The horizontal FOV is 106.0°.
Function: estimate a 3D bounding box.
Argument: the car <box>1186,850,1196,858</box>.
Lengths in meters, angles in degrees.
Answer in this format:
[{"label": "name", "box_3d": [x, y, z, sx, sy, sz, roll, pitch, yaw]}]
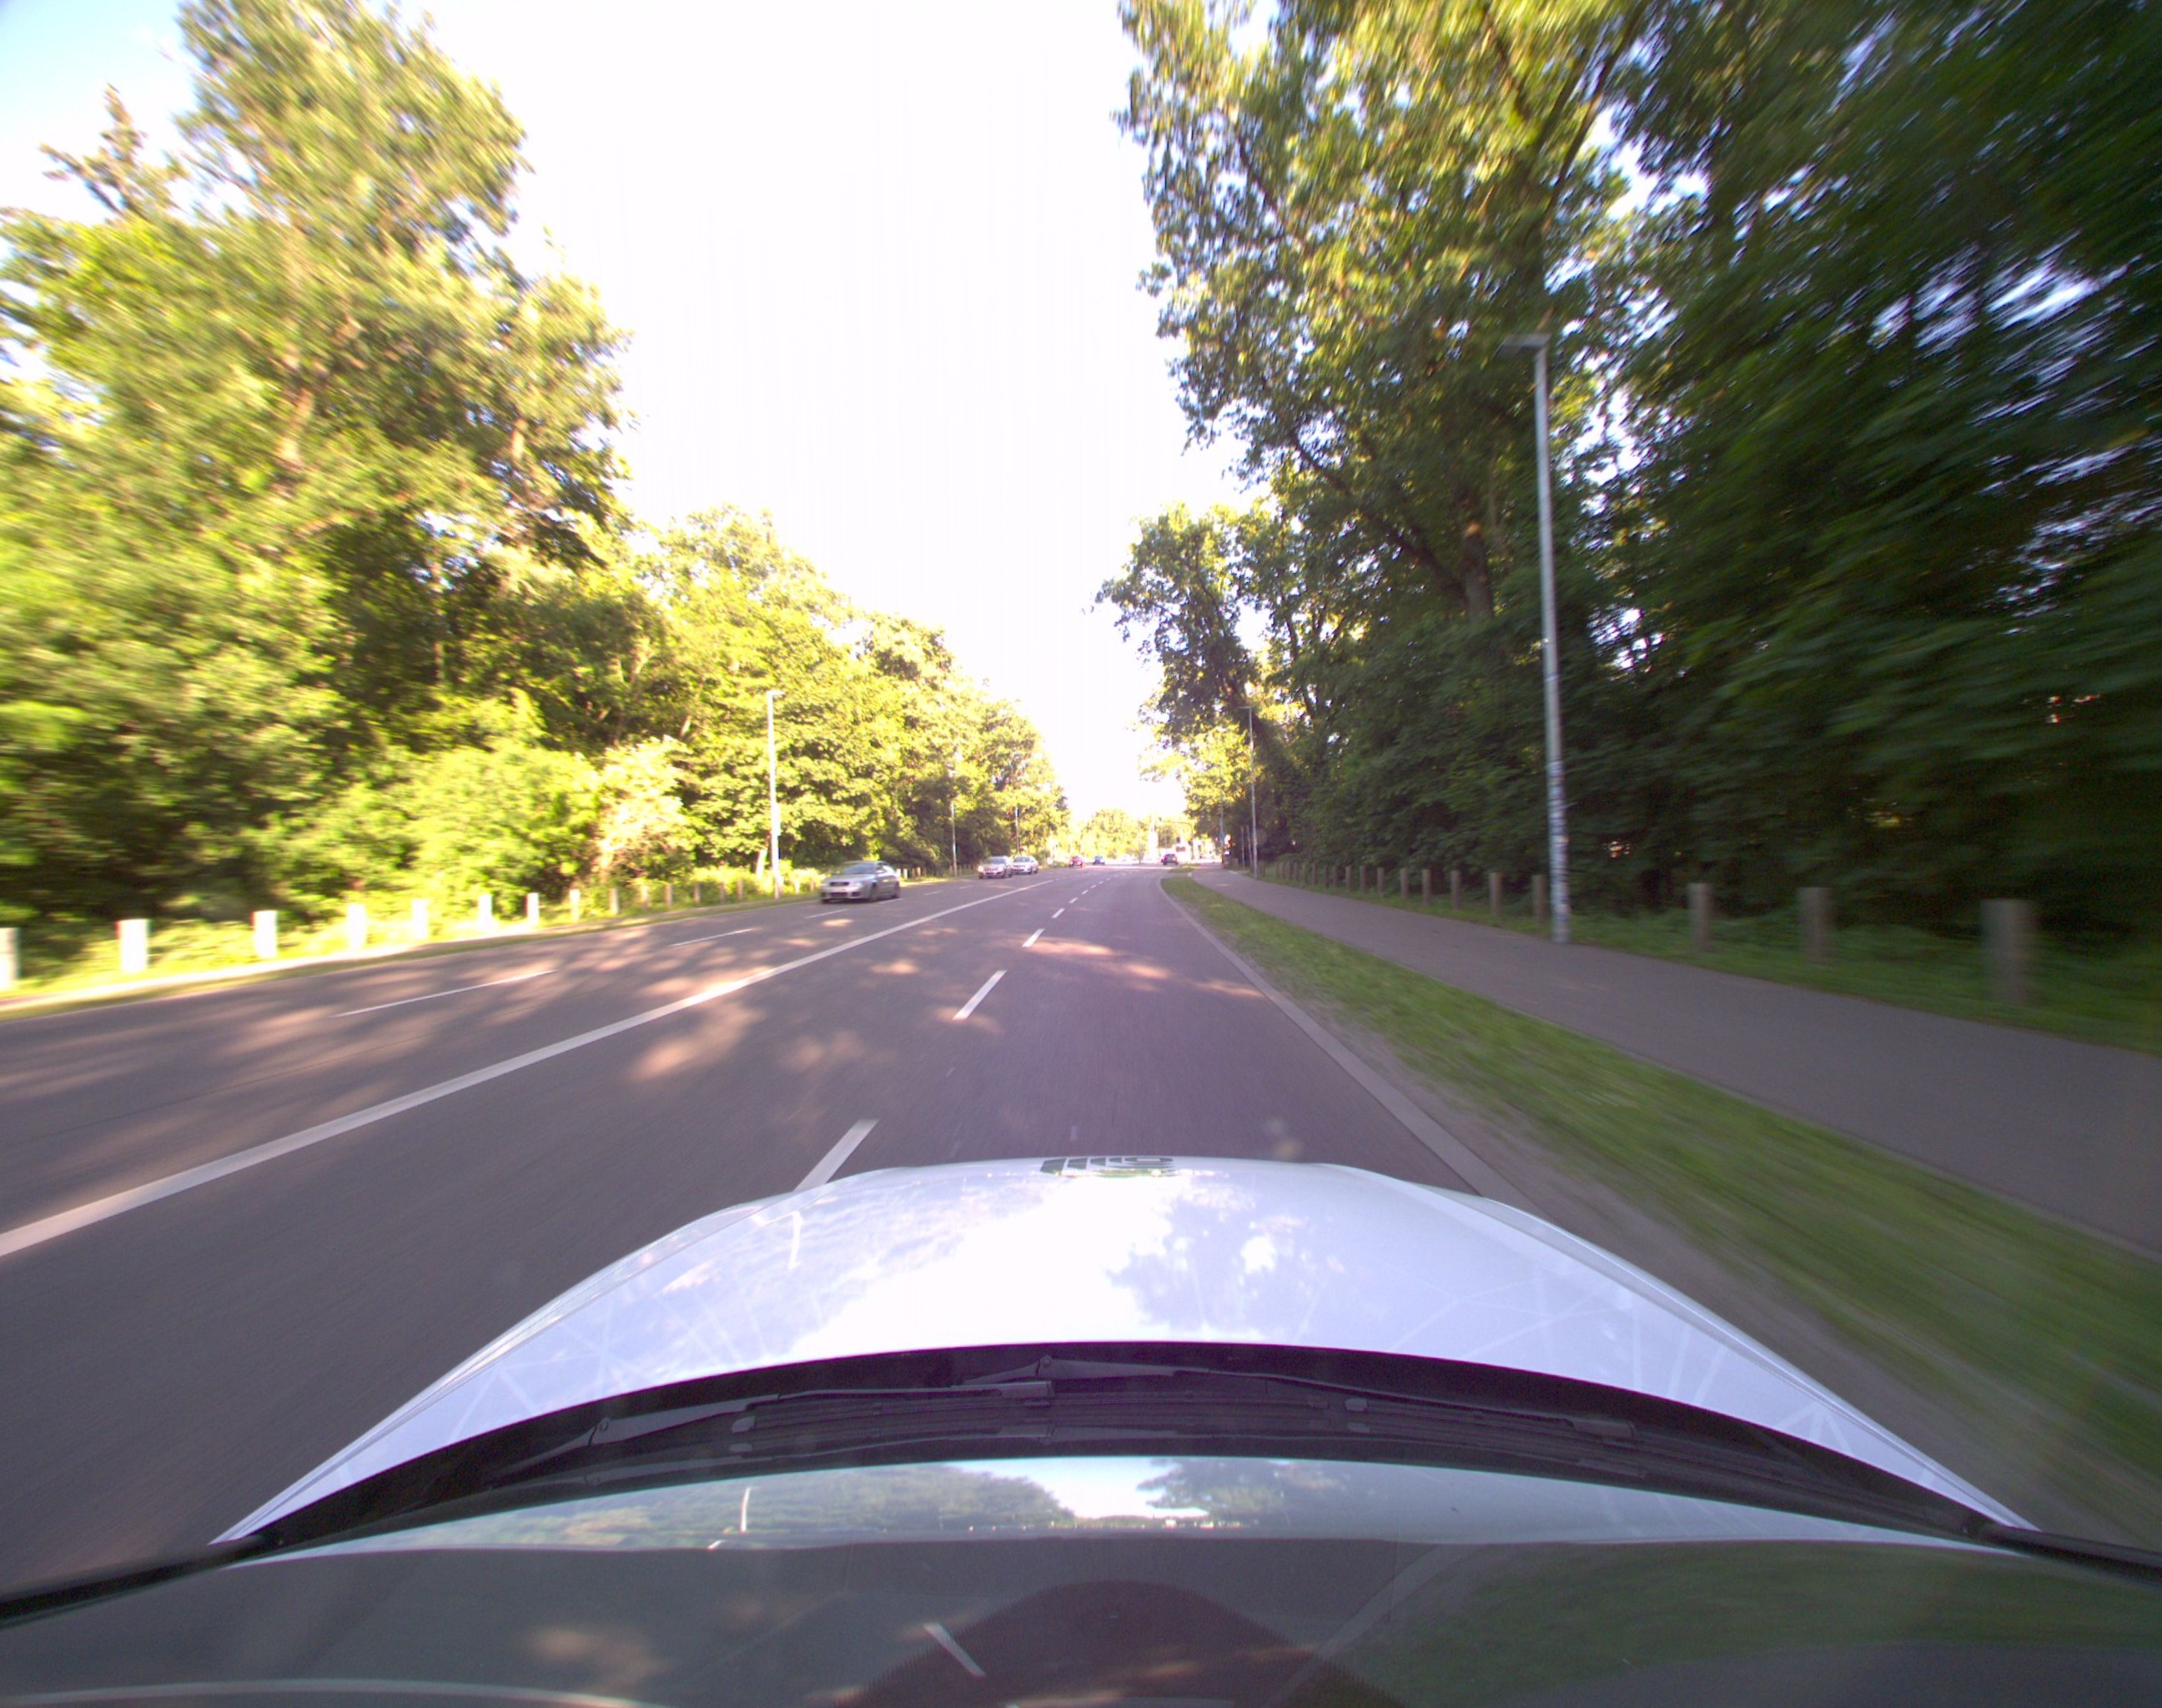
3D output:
[{"label": "car", "box_3d": [24.571, -0.077, 181.642, 1.850, 1.684, 3.786, -3, 0, 13]}]

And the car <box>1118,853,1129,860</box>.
[{"label": "car", "box_3d": [8.513, 0.477, 162.903, 1.701, 1.464, 4.110, 0, 0, 8]}]

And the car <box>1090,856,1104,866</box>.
[{"label": "car", "box_3d": [2.500, 1.034, 124.631, 1.646, 1.508, 4.008, -2, 0, 7]}]

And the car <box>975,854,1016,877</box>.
[{"label": "car", "box_3d": [-5.681, 0.724, 54.516, 1.770, 1.464, 4.282, 0, 0, 7]}]

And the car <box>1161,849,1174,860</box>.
[{"label": "car", "box_3d": [15.375, 0.069, 144.768, 1.869, 1.765, 4.010, -2, 0, 9]}]

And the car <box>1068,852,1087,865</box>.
[{"label": "car", "box_3d": [-0.421, 0.569, 98.724, 1.653, 1.518, 3.817, -2, 0, 9]}]

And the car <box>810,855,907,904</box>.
[{"label": "car", "box_3d": [-7.452, 0.799, 27.687, 1.771, 1.408, 4.172, -1, 1, 5]}]

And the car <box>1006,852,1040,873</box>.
[{"label": "car", "box_3d": [-4.542, 0.630, 64.688, 1.773, 1.522, 4.407, -2, 0, 8]}]

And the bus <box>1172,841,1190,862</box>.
[{"label": "bus", "box_3d": [16.585, -0.469, 134.387, 2.590, 3.368, 7.996, -1, 0, 9]}]

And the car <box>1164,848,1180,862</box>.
[{"label": "car", "box_3d": [12.271, 0.076, 109.505, 1.869, 1.765, 4.010, -2, 0, 9]}]
